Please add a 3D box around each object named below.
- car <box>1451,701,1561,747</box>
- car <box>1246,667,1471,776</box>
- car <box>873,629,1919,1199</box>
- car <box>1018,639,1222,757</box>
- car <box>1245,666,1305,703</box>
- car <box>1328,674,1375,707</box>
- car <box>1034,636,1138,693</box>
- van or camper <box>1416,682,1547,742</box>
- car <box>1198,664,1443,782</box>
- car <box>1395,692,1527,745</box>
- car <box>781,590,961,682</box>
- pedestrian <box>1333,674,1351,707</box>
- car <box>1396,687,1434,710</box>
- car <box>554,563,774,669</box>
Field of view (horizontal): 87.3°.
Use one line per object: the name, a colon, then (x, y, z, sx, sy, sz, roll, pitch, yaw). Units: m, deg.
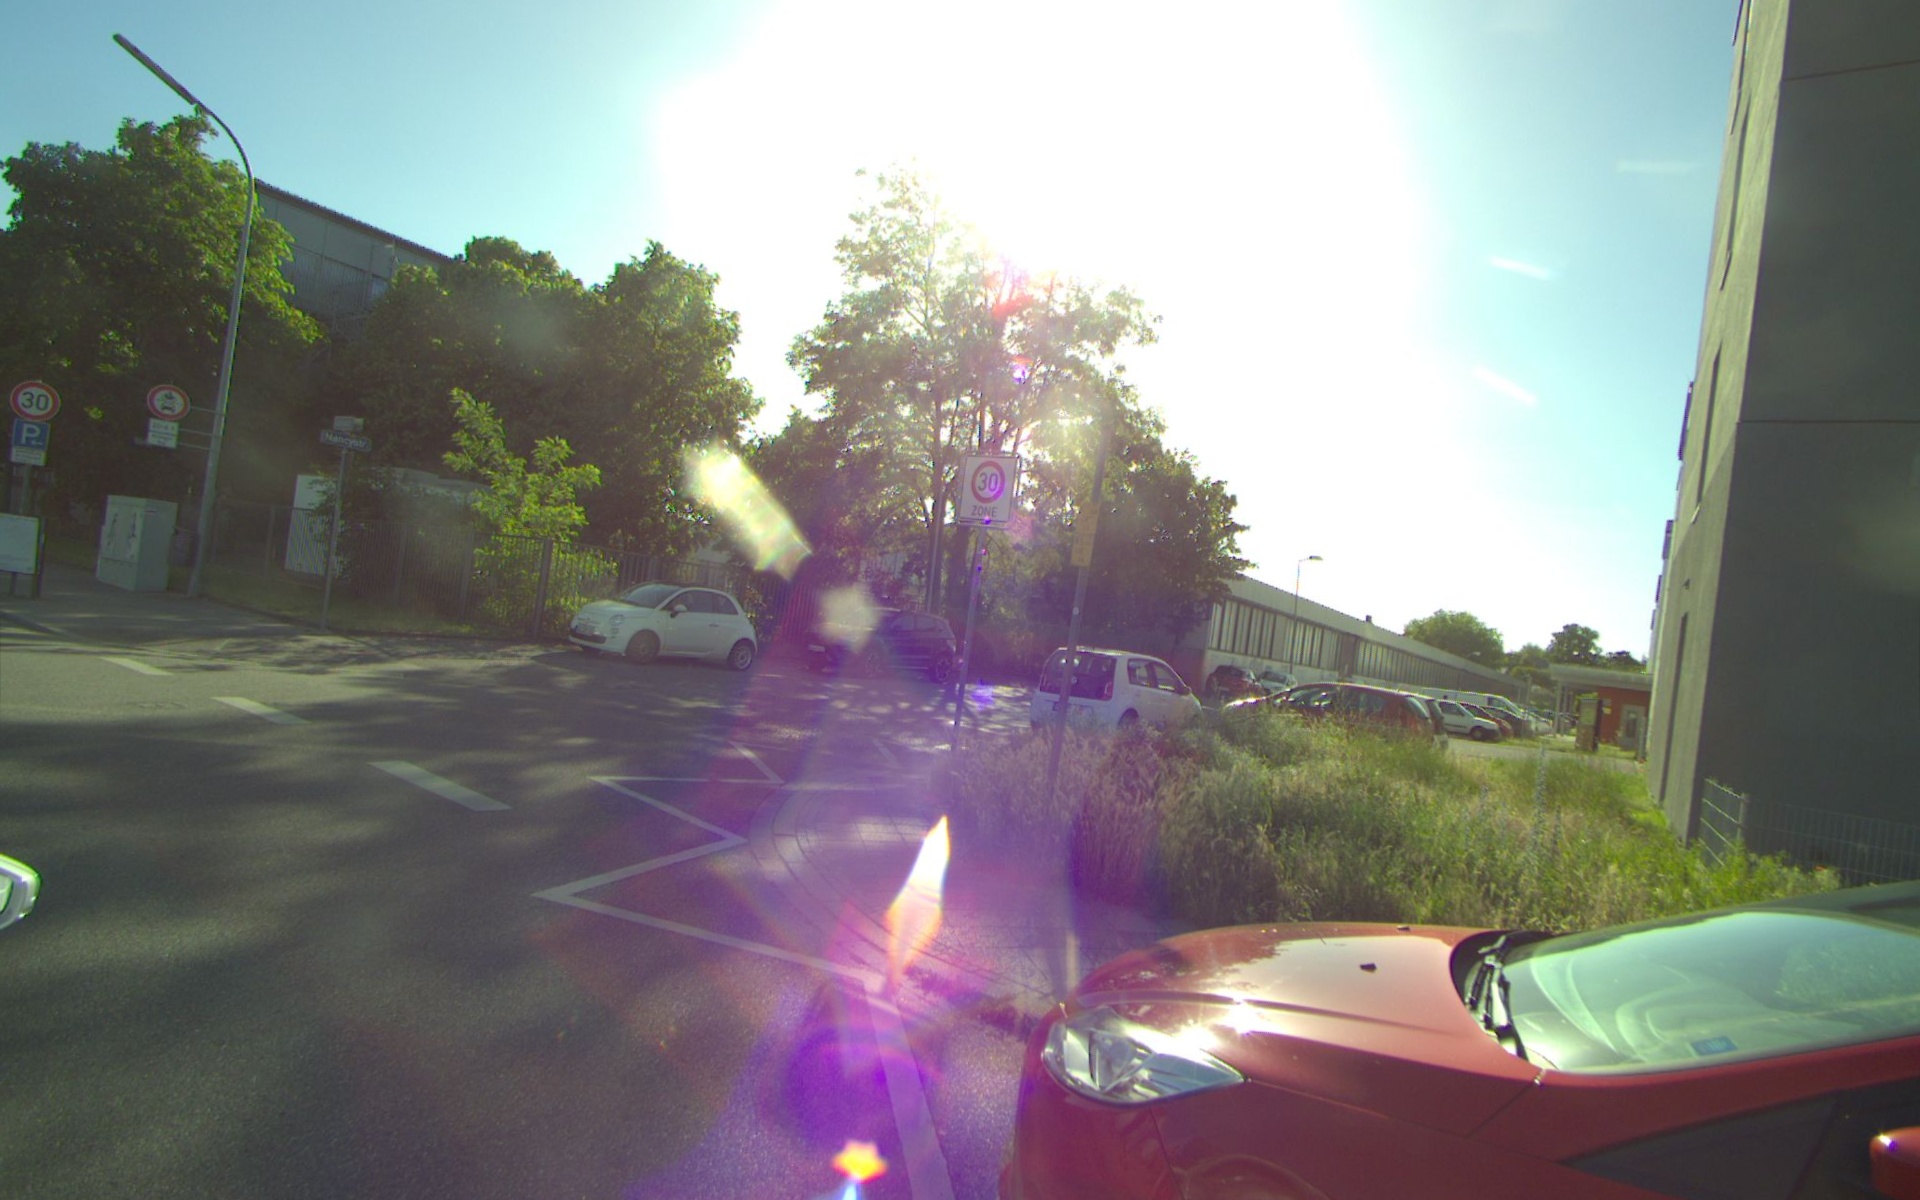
car: (24.243, 5.476, 44.713, 4.022, 1.365, 1.759, 7, -1, 34)
car: (8.225, 2.446, 20.858, 3.936, 1.538, 1.694, 7, 0, 34)
car: (2.178, 1.130, 1.552, 4.379, 1.517, 1.822, 7, -2, 33)
car: (2.636, 1.579, 16.064, 1.689, 1.475, 3.326, 7, -1, 38)
car: (15.232, 4.099, 48.502, 1.683, 1.454, 3.994, 7, -1, 32)
car: (24.460, 5.670, 62.778, 1.684, 1.688, 3.991, 7, -1, 34)
car: (4.142, 2.125, 32.579, 1.683, 1.454, 3.994, 7, -1, 32)
van or camper: (25.045, 5.347, 48.424, 5.214, 1.981, 1.995, 7, -1, 36)
car: (6.741, 2.236, 18.960, 3.936, 1.488, 1.694, 7, 0, 34)
car: (20.494, 4.815, 41.242, 4.527, 1.365, 1.996, 7, -1, 34)
car: (-1.924, 0.881, 23.013, 1.728, 1.656, 4.157, 7, -1, 34)
pedestrian: (21.136, 5.008, 55.647, 0.657, 1.681, 0.485, 7, 0, 34)
car: (36.010, 7.826, 79.580, 1.956, 1.454, 3.991, 7, -1, 34)
car: (-5.321, 0.349, 18.444, 1.575, 1.503, 3.550, 7, -1, 34)
